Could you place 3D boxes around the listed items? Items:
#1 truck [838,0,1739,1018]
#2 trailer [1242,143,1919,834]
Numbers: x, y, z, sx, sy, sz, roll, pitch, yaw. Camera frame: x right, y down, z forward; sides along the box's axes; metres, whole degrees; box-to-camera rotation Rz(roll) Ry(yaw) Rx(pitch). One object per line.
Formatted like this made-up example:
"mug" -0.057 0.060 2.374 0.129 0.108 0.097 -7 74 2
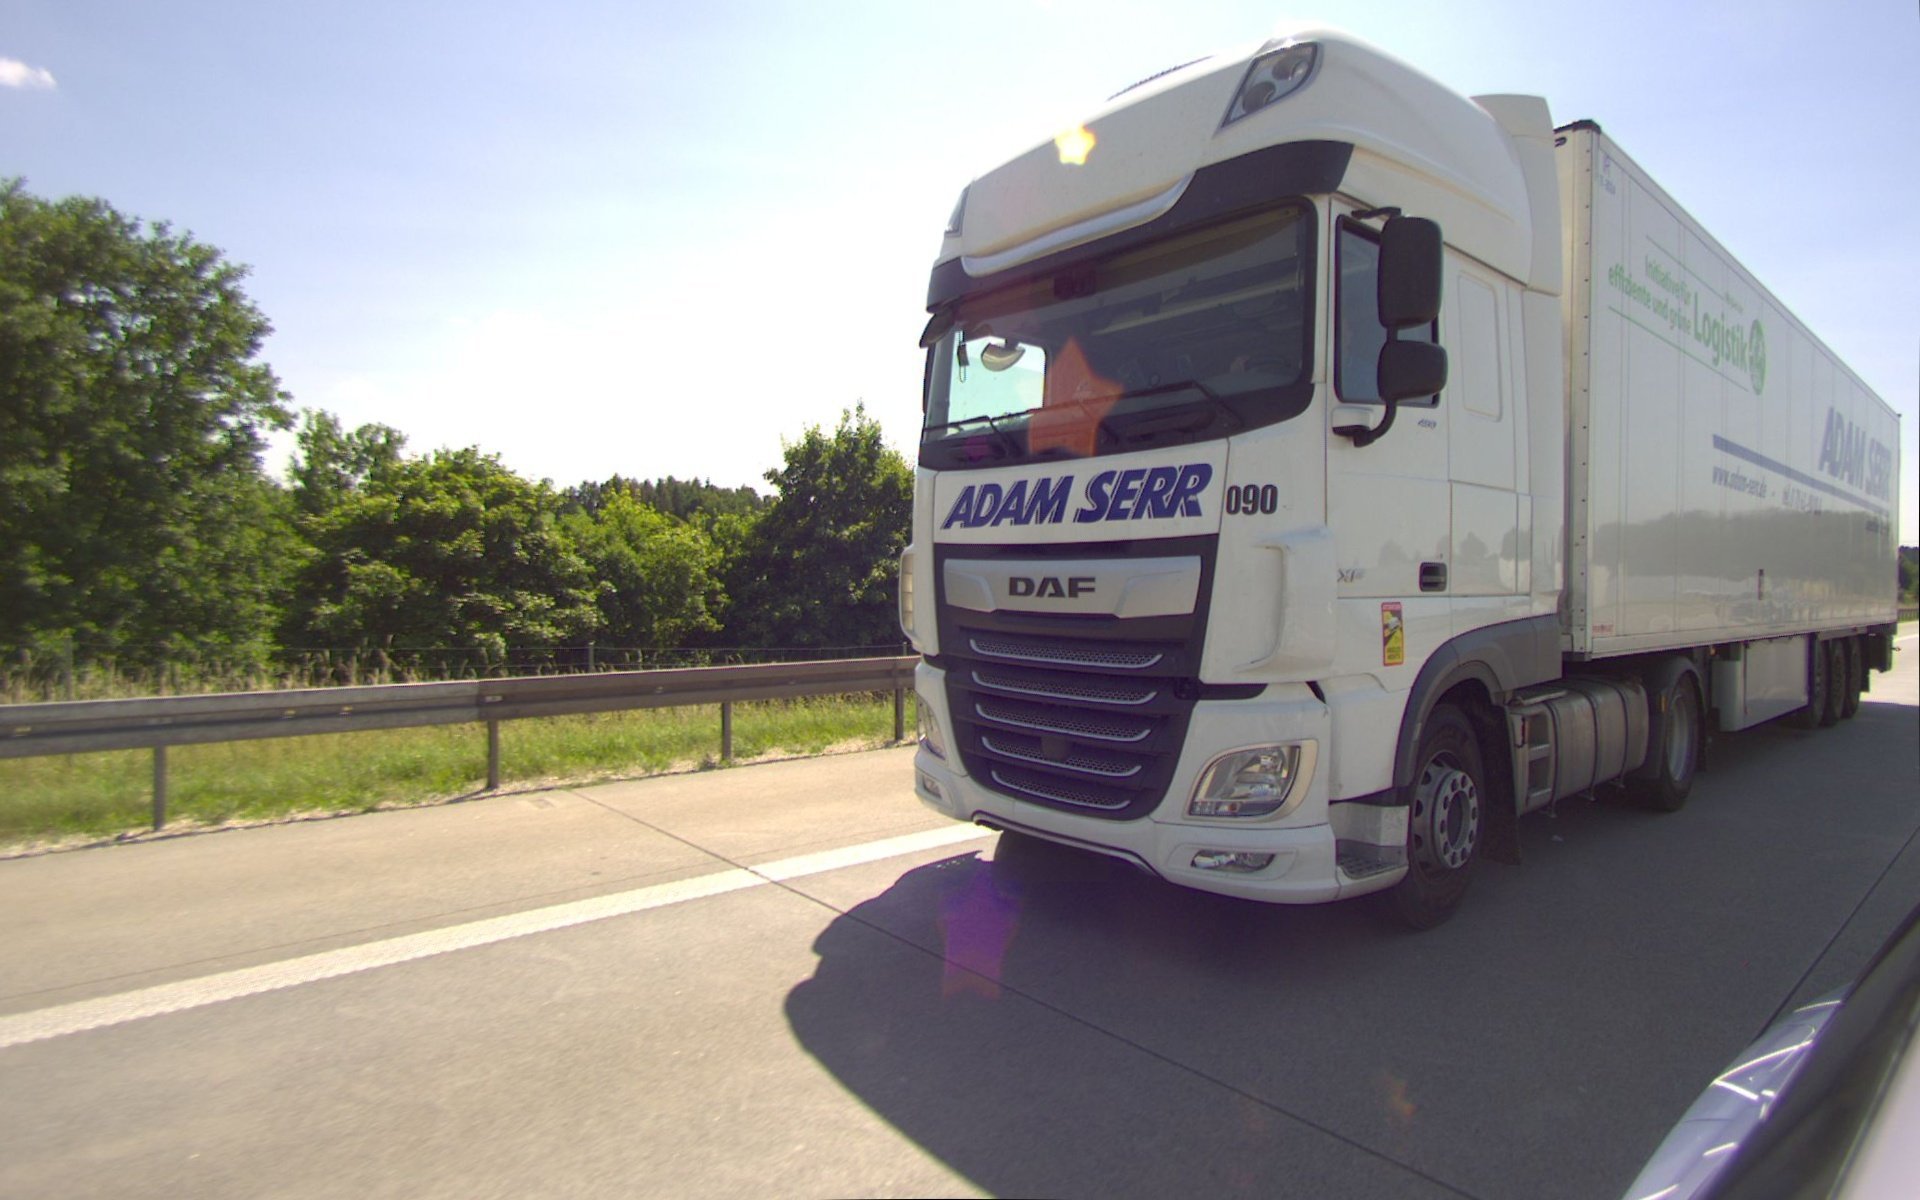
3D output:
"truck" 2.405 -0.710 6.329 5.697 4.139 2.817 0 1 -41
"trailer" 7.916 -0.718 11.203 12.491 4.093 2.858 0 1 -41
